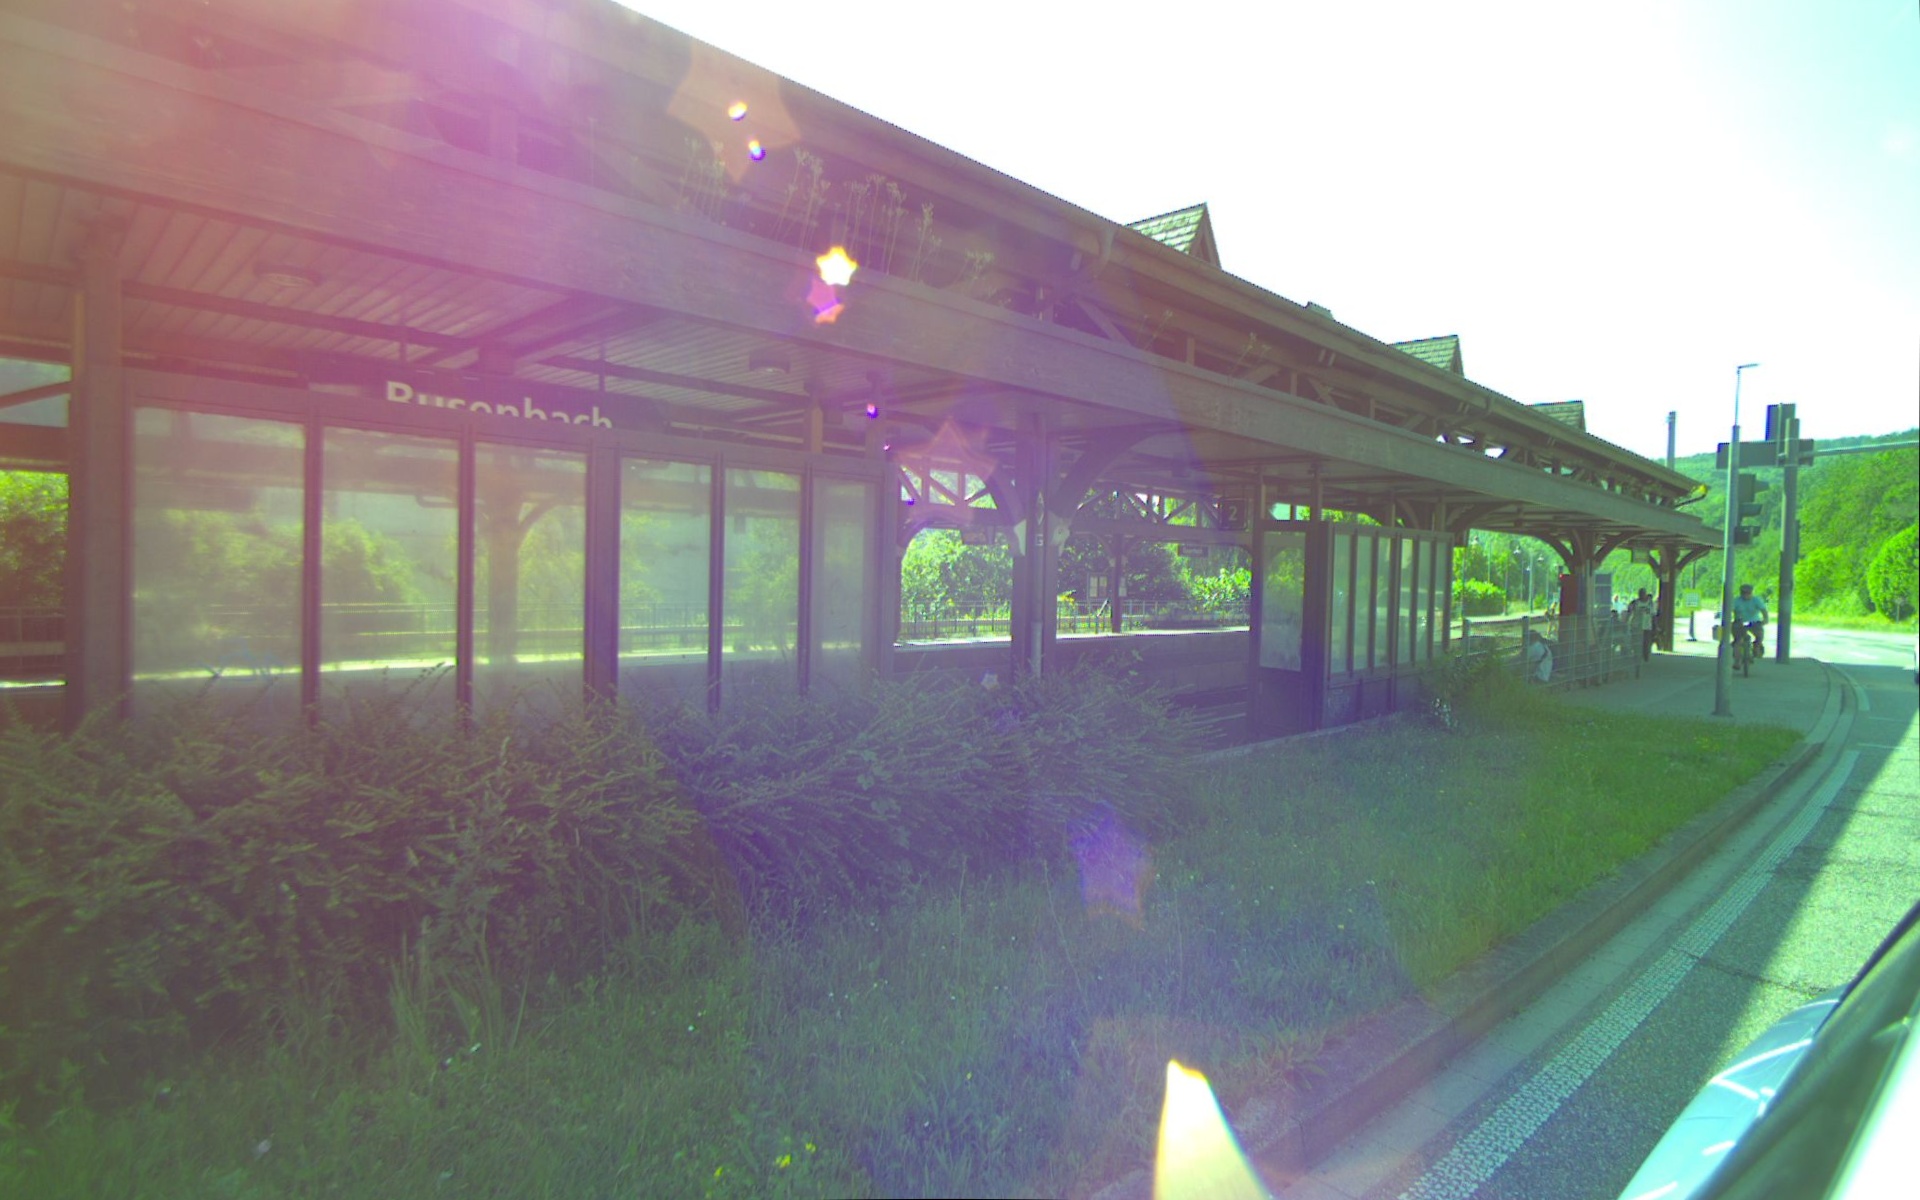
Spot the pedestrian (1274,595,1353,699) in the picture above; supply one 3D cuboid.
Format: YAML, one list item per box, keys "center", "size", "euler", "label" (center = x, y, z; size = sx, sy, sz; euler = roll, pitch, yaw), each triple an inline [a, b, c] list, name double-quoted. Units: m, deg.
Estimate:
- center: [5.639, 0.731, 16.132]
  size: [0.860, 1.567, 0.908]
  euler: [1, -1, 43]
  label: "pedestrian"

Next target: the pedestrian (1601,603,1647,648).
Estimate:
- center: [18.045, 0.682, 27.508]
  size: [1.003, 1.174, 0.937]
  euler: [1, 0, 35]
  label: "pedestrian"

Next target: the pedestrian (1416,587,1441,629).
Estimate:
- center: [21.324, 0.364, 46.066]
  size: [0.899, 1.873, 0.811]
  euler: [-1, -2, 38]
  label: "pedestrian"

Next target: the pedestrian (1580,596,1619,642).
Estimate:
- center: [26.788, 0.793, 42.366]
  size: [1.052, 1.867, 0.991]
  euler: [3, -2, -30]
  label: "pedestrian"

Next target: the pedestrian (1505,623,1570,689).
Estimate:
- center: [9.112, 0.871, 15.956]
  size: [0.741, 0.995, 0.757]
  euler: [-1, -2, 42]
  label: "pedestrian"

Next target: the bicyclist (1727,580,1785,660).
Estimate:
- center: [16.300, 0.409, 20.728]
  size: [0.931, 1.589, 0.785]
  euler: [0, -1, -44]
  label: "bicyclist"

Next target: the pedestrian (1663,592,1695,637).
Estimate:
- center: [27.982, 0.568, 39.383]
  size: [0.813, 1.706, 0.896]
  euler: [0, -2, 24]
  label: "pedestrian"

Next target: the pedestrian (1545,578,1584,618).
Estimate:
- center: [26.264, -0.077, 43.963]
  size: [1.101, 1.706, 0.905]
  euler: [1, -2, -10]
  label: "pedestrian"

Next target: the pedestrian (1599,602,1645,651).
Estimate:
- center: [17.344, 0.683, 26.508]
  size: [0.988, 1.251, 0.589]
  euler: [-1, -2, 36]
  label: "pedestrian"

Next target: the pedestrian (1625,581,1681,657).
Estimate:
- center: [16.555, 0.462, 24.171]
  size: [0.913, 1.759, 1.232]
  euler: [-1, -2, 42]
  label: "pedestrian"

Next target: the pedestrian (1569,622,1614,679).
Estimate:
- center: [11.207, 0.886, 17.966]
  size: [0.616, 0.978, 0.400]
  euler: [-1, -2, 42]
  label: "pedestrian"

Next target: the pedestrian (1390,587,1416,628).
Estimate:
- center: [20.192, 0.358, 46.164]
  size: [0.899, 1.873, 0.811]
  euler: [-1, -2, 38]
  label: "pedestrian"

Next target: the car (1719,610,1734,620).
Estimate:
- center: [134.939, 2.604, 178.086]
  size: [1.990, 1.772, 3.942]
  euler: [-1, -2, 40]
  label: "car"

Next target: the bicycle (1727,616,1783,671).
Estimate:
- center: [16.303, 0.871, 20.736]
  size: [1.783, 1.069, 0.603]
  euler: [0, -1, -42]
  label: "bicycle"

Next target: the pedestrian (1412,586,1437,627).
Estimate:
- center: [21.702, 0.303, 47.266]
  size: [0.899, 1.873, 0.811]
  euler: [-1, -2, 38]
  label: "pedestrian"

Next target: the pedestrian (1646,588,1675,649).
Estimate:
- center: [20.150, 0.508, 29.121]
  size: [0.655, 1.713, 0.730]
  euler: [1, 0, 35]
  label: "pedestrian"

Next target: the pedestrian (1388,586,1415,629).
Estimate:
- center: [19.704, 0.332, 45.156]
  size: [0.899, 1.873, 0.811]
  euler: [-1, -2, 38]
  label: "pedestrian"

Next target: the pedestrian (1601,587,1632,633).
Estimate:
- center: [24.866, 0.374, 38.337]
  size: [0.813, 1.706, 0.896]
  euler: [0, -2, 24]
  label: "pedestrian"

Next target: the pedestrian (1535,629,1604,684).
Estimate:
- center: [10.163, 0.928, 16.878]
  size: [0.844, 0.885, 0.795]
  euler: [-1, -2, 42]
  label: "pedestrian"

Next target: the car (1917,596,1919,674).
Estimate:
- center: [19.503, 0.709, 18.958]
  size: [1.990, 1.605, 3.942]
  euler: [-1, -1, 40]
  label: "car"

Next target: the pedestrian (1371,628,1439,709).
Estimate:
- center: [6.480, 0.978, 14.750]
  size: [0.741, 1.131, 0.657]
  euler: [-1, -2, 42]
  label: "pedestrian"
